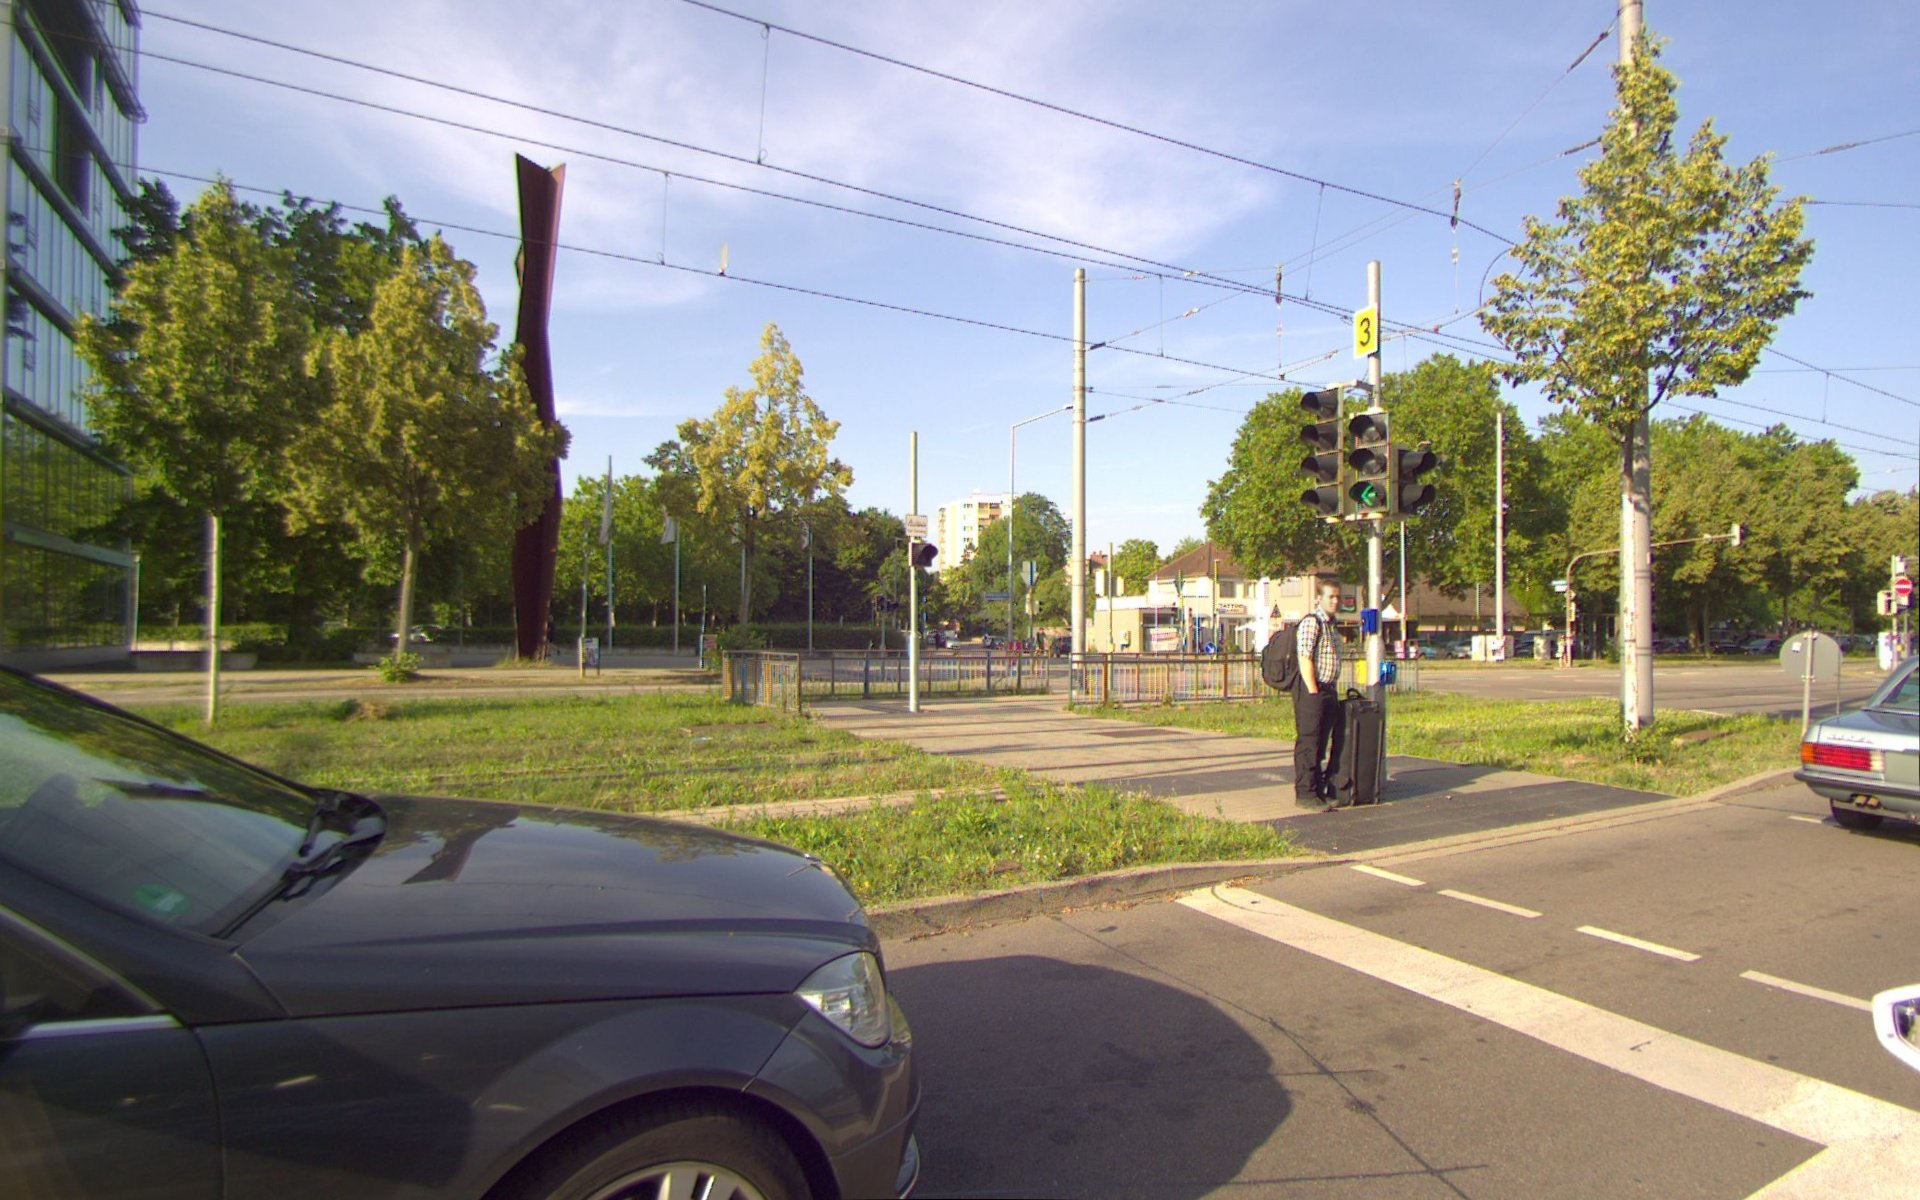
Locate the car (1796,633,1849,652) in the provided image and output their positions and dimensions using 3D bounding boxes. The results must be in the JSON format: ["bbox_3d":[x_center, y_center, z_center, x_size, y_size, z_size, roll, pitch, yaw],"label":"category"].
[{"bbox_3d":[72.115,3.556,83.990,3.945,1.580,1.876,1,-2,-25],"label":"car"}]

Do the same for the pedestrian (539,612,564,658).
[{"bbox_3d":[-19.203,1.674,47.245,0.864,2.135,0.724,-1,-3,-1],"label":"pedestrian"}]

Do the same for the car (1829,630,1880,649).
[{"bbox_3d":[76.686,3.354,86.099,3.945,1.580,1.876,1,-2,-25],"label":"car"}]

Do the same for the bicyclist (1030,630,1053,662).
[{"bbox_3d":[3.861,2.181,47.739,0.836,1.512,0.697,-1,-2,38],"label":"bicyclist"}]

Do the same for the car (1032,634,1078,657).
[{"bbox_3d":[7.450,3.554,79.248,1.971,1.750,3.979,1,-2,-22],"label":"car"}]

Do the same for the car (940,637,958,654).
[{"bbox_3d":[-1.260,5.124,113.587,1.961,1.806,4.000,0,-2,-1],"label":"car"}]

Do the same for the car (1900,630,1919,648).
[{"bbox_3d":[87.799,3.581,91.477,3.945,1.580,1.876,1,-2,-25],"label":"car"}]

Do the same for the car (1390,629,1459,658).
[{"bbox_3d":[29.207,2.714,63.140,3.945,1.773,1.876,1,-2,-25],"label":"car"}]

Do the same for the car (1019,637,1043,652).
[{"bbox_3d":[7.050,4.448,100.320,1.667,1.491,3.941,0,-2,-8],"label":"car"}]

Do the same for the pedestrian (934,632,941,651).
[{"bbox_3d":[-2.039,3.756,90.481,0.654,1.654,0.664,0,-1,-2],"label":"pedestrian"}]

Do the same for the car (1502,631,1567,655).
[{"bbox_3d":[38.819,2.930,67.830,3.945,1.580,1.876,1,-2,-25],"label":"car"}]

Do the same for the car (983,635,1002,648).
[{"bbox_3d":[3.956,5.059,123.451,1.667,1.491,3.941,0,-2,-8],"label":"car"}]

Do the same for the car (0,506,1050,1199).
[{"bbox_3d":[-2.130,0.620,1.715,4.299,1.498,1.779,1,0,-29],"label":"car"}]

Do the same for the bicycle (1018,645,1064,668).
[{"bbox_3d":[3.846,2.661,47.736,2.168,1.055,0.697,-1,-2,38],"label":"bicycle"}]

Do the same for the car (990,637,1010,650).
[{"bbox_3d":[4.663,5.100,117.662,1.667,1.491,3.941,0,-2,-8],"label":"car"}]

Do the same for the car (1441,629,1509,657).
[{"bbox_3d":[33.432,2.766,65.216,3.945,1.773,1.876,1,-2,-25],"label":"car"}]

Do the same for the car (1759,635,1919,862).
[{"bbox_3d":[7.752,0.950,7.257,4.350,1.348,1.754,1,-1,-32],"label":"car"}]

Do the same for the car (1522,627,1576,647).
[{"bbox_3d":[47.870,3.043,81.582,3.945,1.580,1.876,1,-2,-25],"label":"car"}]

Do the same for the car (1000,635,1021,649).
[{"bbox_3d":[5.577,4.696,111.833,1.667,1.491,3.941,0,-2,-8],"label":"car"}]

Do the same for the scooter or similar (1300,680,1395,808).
[{"bbox_3d":[3.073,1.123,7.979,0.424,0.919,0.545,1,1,-29],"label":"scooter or similar"}]

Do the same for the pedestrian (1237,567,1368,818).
[{"bbox_3d":[2.622,0.671,7.713,0.628,1.816,0.696,1,0,-29],"label":"pedestrian"}]

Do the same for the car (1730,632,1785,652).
[{"bbox_3d":[63.602,3.321,80.093,3.945,1.580,1.876,1,-2,-25],"label":"car"}]

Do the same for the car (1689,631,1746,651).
[{"bbox_3d":[58.618,3.173,77.735,3.945,1.580,1.876,1,-2,-25],"label":"car"}]
